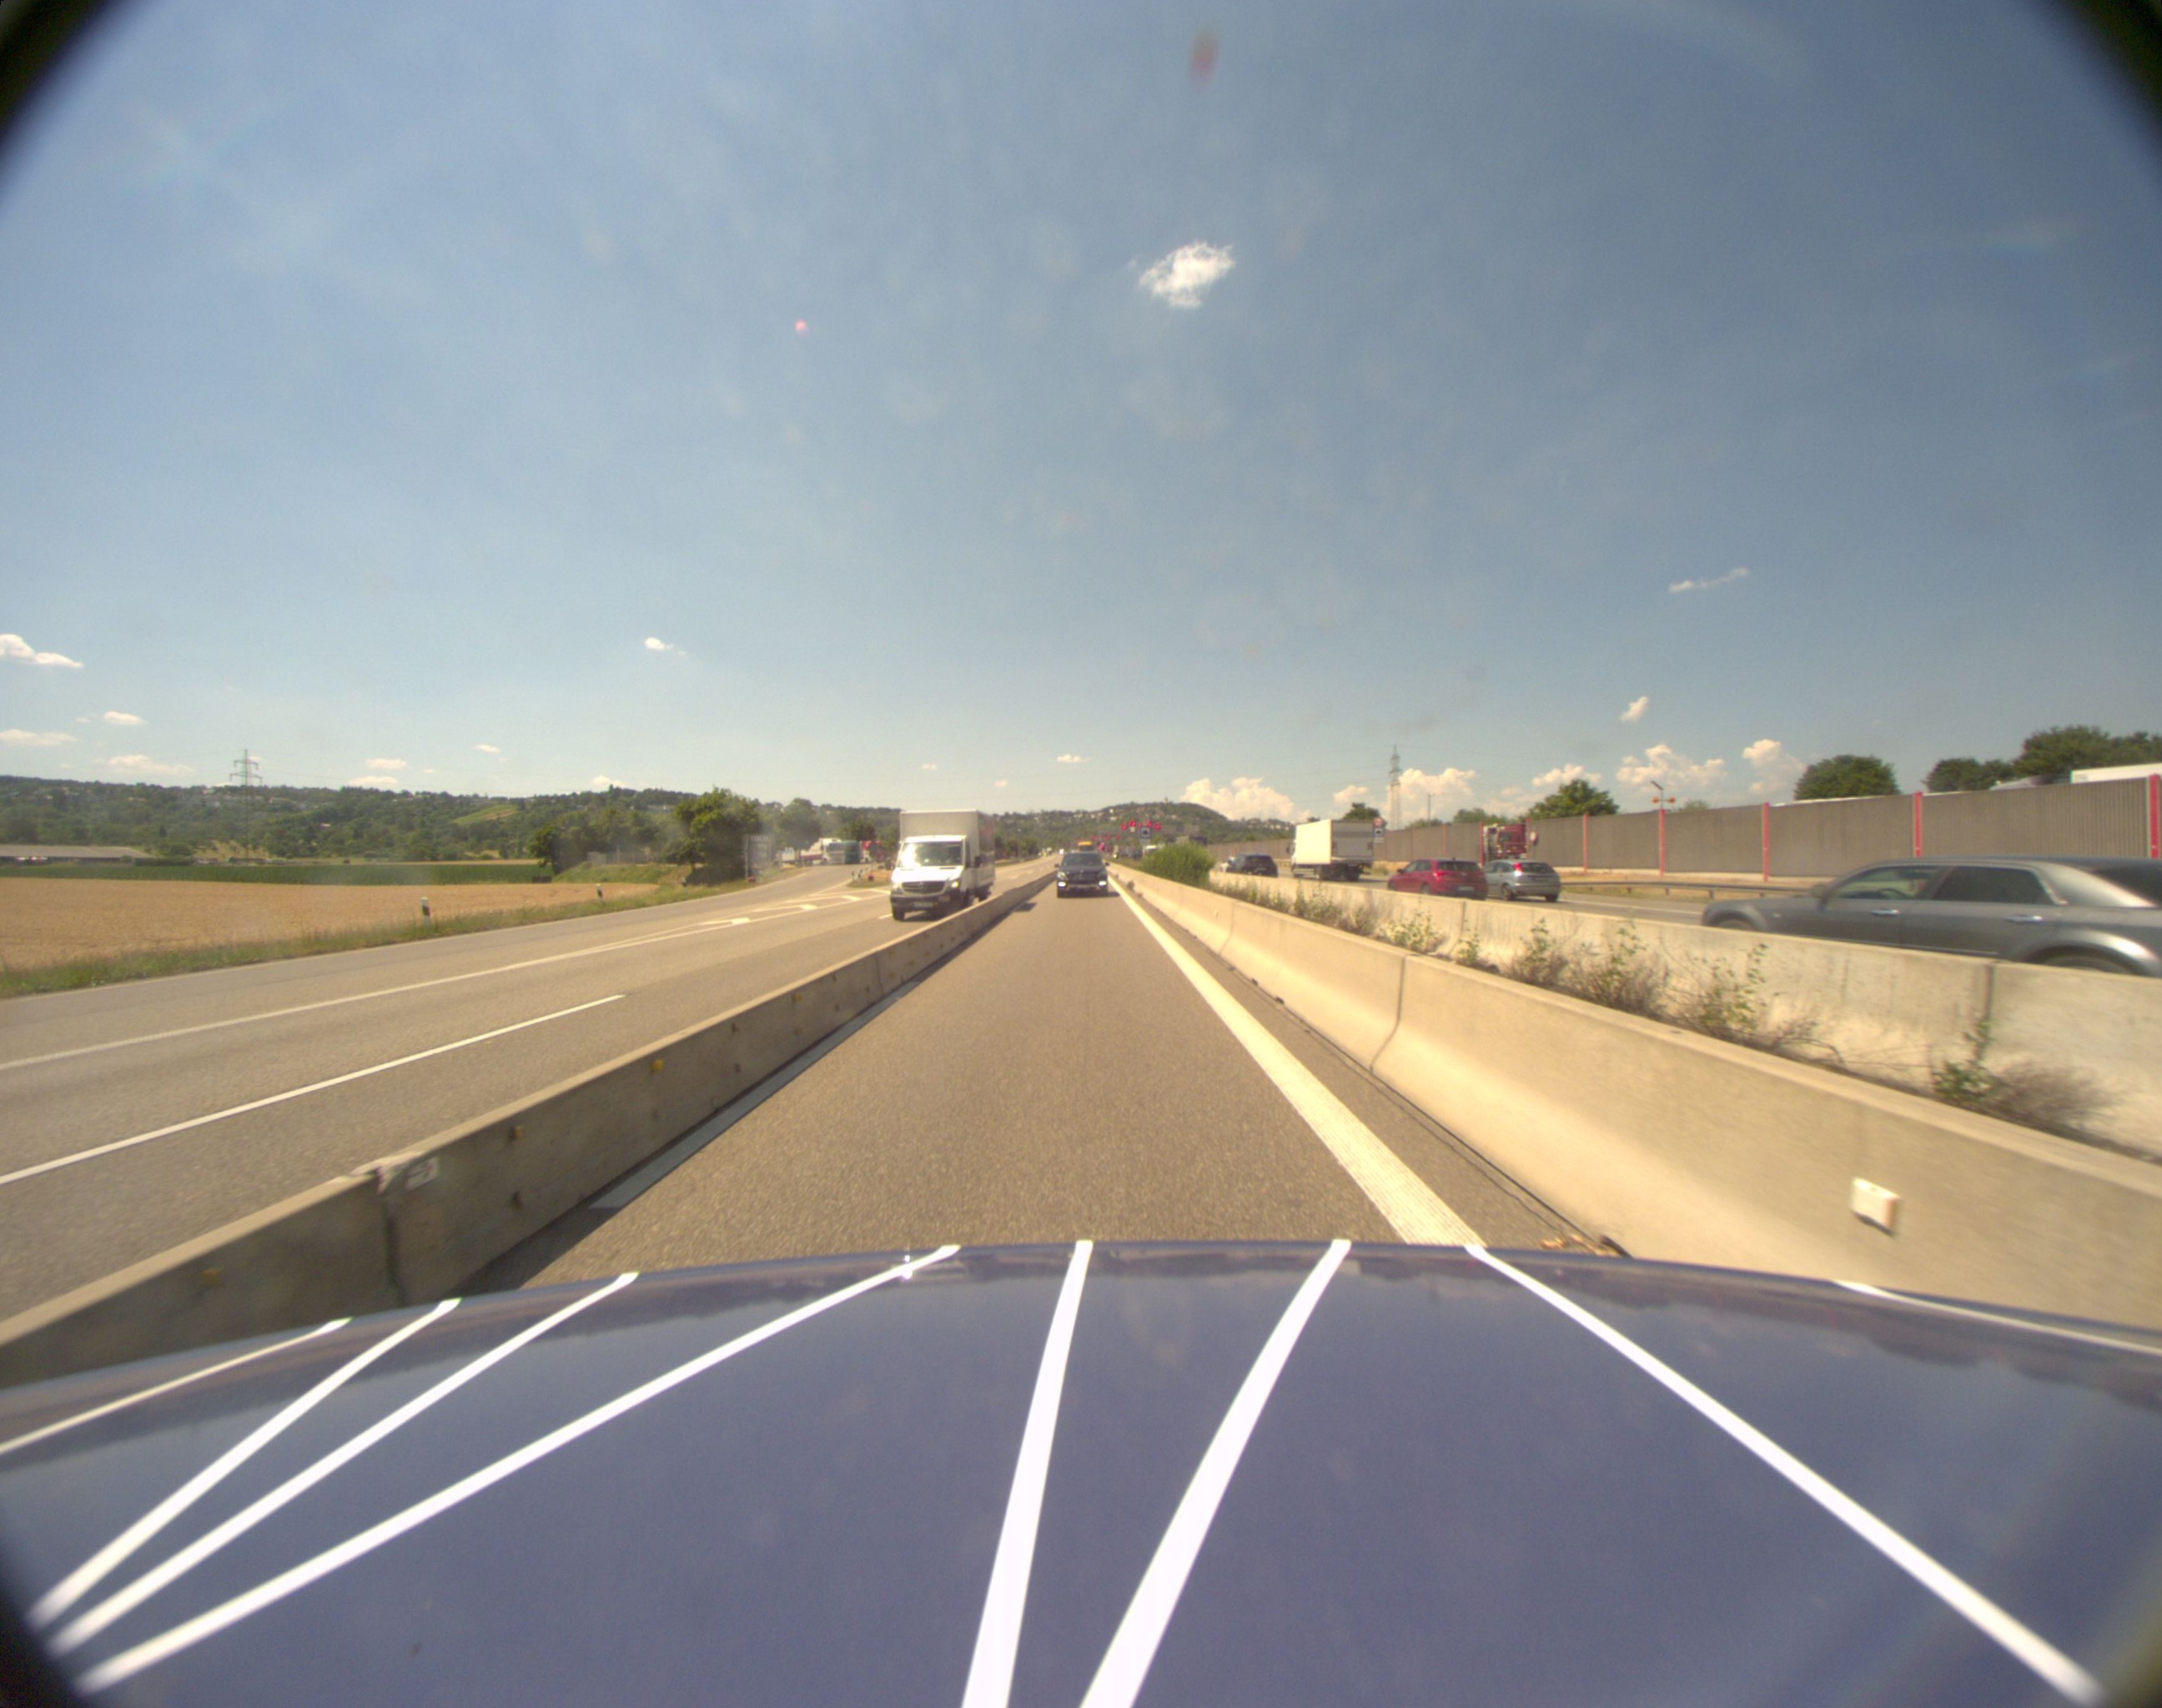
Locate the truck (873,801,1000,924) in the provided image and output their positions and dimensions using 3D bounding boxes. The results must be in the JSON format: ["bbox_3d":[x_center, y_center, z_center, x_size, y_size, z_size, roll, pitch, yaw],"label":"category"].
[{"bbox_3d":[-4.042,0.257,22.767,2.326,3.049,6.752,-2,-1,1],"label":"truck"}]

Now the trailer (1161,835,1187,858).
[{"bbox_3d":[17.757,-1.491,145.867,3.264,4.033,14.388,-2,1,1],"label":"trailer"}]

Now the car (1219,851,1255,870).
[{"bbox_3d":[12.224,0.479,59.908,1.795,1.422,5.104,-1,1,1],"label":"car"}]

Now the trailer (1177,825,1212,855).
[{"bbox_3d":[16.593,-1.985,112.481,2.991,4.043,15.162,-1,1,1],"label":"trailer"}]

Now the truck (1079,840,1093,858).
[{"bbox_3d":[0.931,-0.937,135.021,2.272,3.139,8.186,-2,1,1],"label":"truck"}]

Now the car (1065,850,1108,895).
[{"bbox_3d":[0.275,0.739,32.057,1.630,1.711,3.865,-2,-1,1],"label":"car"}]

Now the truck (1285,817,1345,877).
[{"bbox_3d":[15.799,-0.461,51.668,2.647,3.851,4.725,0,1,1],"label":"truck"}]

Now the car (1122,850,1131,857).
[{"bbox_3d":[9.170,-0.104,153.753,1.515,1.530,3.183,-1,1,1],"label":"car"}]

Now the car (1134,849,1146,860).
[{"bbox_3d":[9.332,0.081,119.807,1.654,1.694,3.741,-1,1,1],"label":"car"}]

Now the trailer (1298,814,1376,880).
[{"bbox_3d":[15.748,-0.420,47.284,2.654,3.851,6.616,0,1,1],"label":"trailer"}]

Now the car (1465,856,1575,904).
[{"bbox_3d":[15.512,0.873,27.114,1.659,1.510,4.000,-1,1,1],"label":"car"}]

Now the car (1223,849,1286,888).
[{"bbox_3d":[8.363,0.671,37.015,1.998,1.749,4.644,-1,0,1],"label":"car"}]

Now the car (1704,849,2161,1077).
[{"bbox_3d":[8.223,0.735,7.028,1.659,1.510,4.000,-1,1,1],"label":"car"}]
